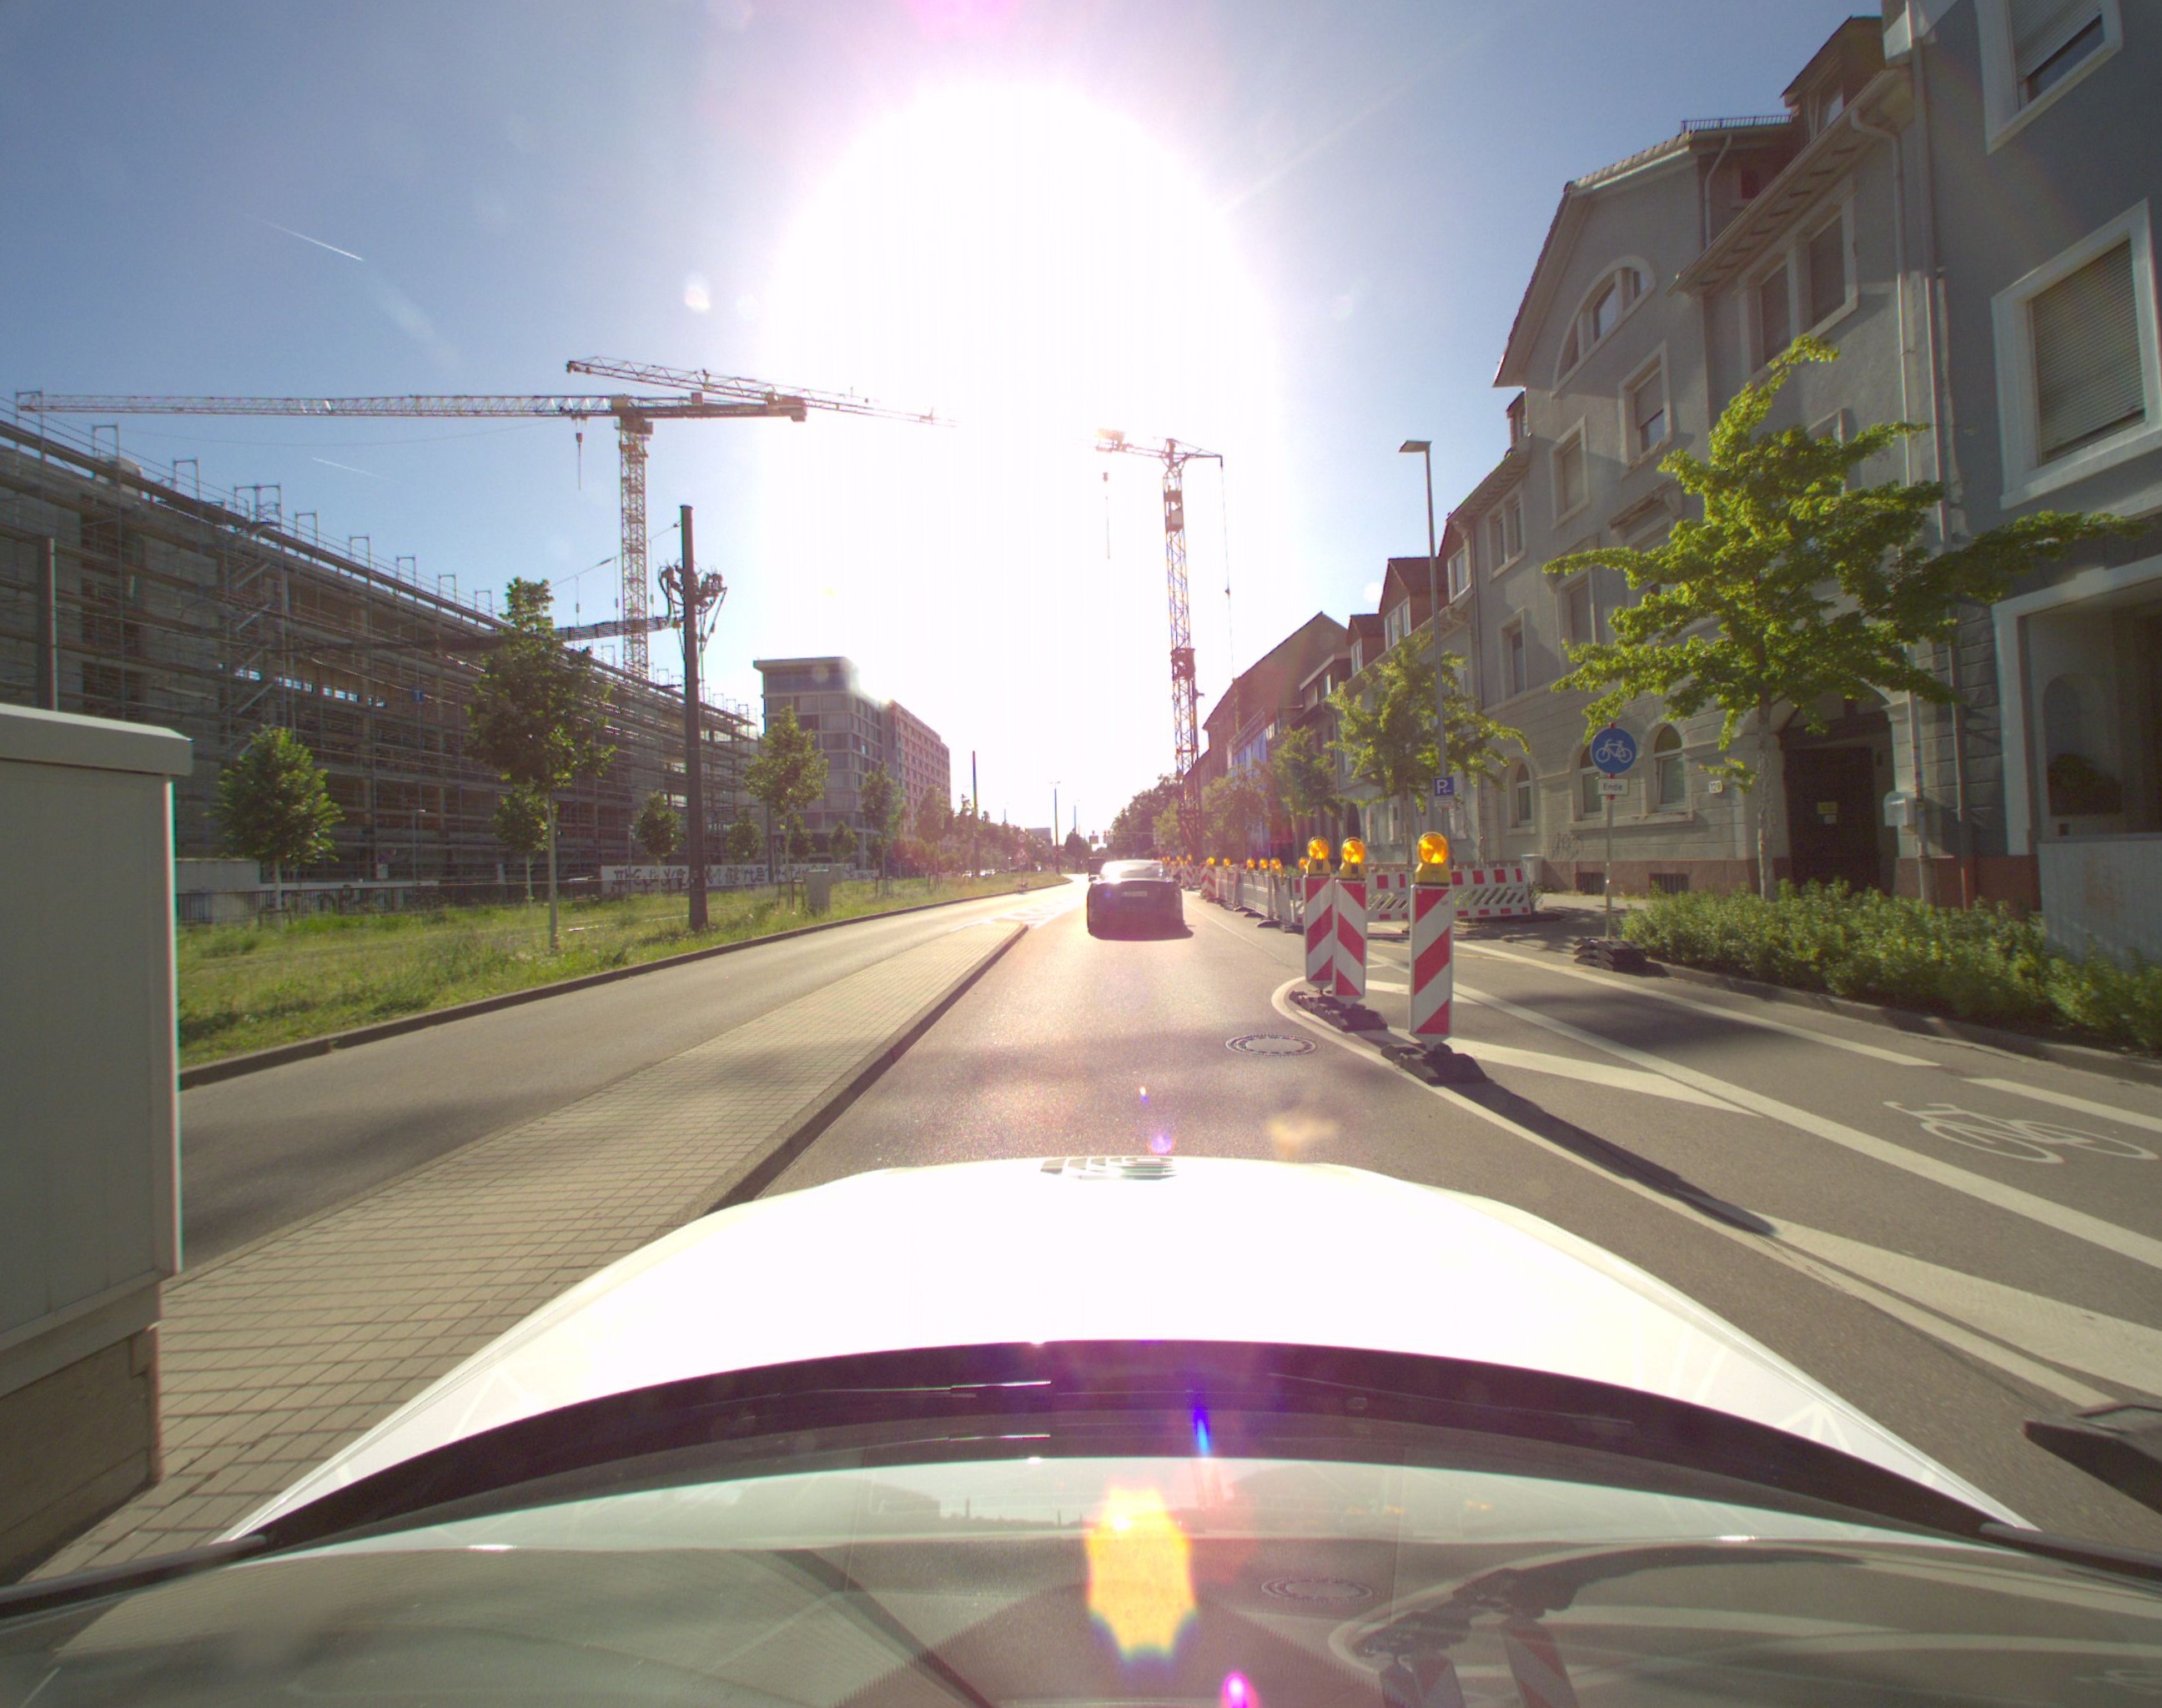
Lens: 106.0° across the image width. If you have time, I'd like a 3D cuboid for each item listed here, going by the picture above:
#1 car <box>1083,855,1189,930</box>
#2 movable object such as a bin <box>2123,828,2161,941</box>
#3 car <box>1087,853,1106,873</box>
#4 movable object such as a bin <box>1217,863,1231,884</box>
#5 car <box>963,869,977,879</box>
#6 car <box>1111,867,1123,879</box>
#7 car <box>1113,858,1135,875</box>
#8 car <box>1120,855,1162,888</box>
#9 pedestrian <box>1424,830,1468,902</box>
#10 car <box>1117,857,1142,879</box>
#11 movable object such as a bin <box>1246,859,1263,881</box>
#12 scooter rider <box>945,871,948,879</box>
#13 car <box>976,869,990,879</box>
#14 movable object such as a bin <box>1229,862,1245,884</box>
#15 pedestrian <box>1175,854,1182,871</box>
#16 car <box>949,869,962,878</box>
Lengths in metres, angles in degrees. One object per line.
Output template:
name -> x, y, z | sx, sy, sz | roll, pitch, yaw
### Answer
car -> 1.131, 0.775, 18.134 | 2.044, 1.444, 4.525 | -1, -1, 1
movable object such as a bin -> 10.825, 0.288, 7.865 | 0.586, 1.108, 0.704 | -2, -1, 2
car -> 1.816, 1.040, 95.248 | 2.210, 2.267, 4.484 | -1, 0, 1
movable object such as a bin -> 7.301, 0.978, 41.584 | 0.585, 1.058, 0.731 | -1, -1, 2
car -> -20.473, 3.691, 149.922 | 1.783, 1.651, 4.002 | -3, -1, 2
car -> 5.929, 3.100, 133.479 | 1.786, 1.874, 3.849 | -1, -1, 0
car -> 3.788, 1.086, 72.033 | 1.786, 1.428, 3.849 | -1, -1, 0
car -> 2.776, 0.793, 38.703 | 1.741, 1.427, 4.839 | -2, -1, 2
pedestrian -> 10.005, 0.316, 22.339 | 0.791, 1.928, 0.770 | -1, -1, -2
car -> 3.523, 1.004, 59.473 | 1.743, 1.527, 4.007 | -1, -1, 2
movable object such as a bin -> 8.844, 0.804, 41.550 | 0.586, 1.057, 0.783 | -7, 0, -3
scooter rider -> -23.493, 3.676, 142.208 | 0.341, 1.453, 0.239 | -3, -1, 2
car -> -17.744, 3.559, 147.646 | 1.783, 1.651, 4.002 | -3, -1, 2
movable object such as a bin -> 8.000, 0.968, 41.766 | 0.593, 1.058, 0.731 | -6, -1, 2
pedestrian -> 11.445, 0.974, 95.643 | 0.656, 1.913, 0.587 | -5, -1, 1
car -> -25.206, 3.977, 164.014 | 1.783, 1.651, 4.002 | -3, -1, 2
